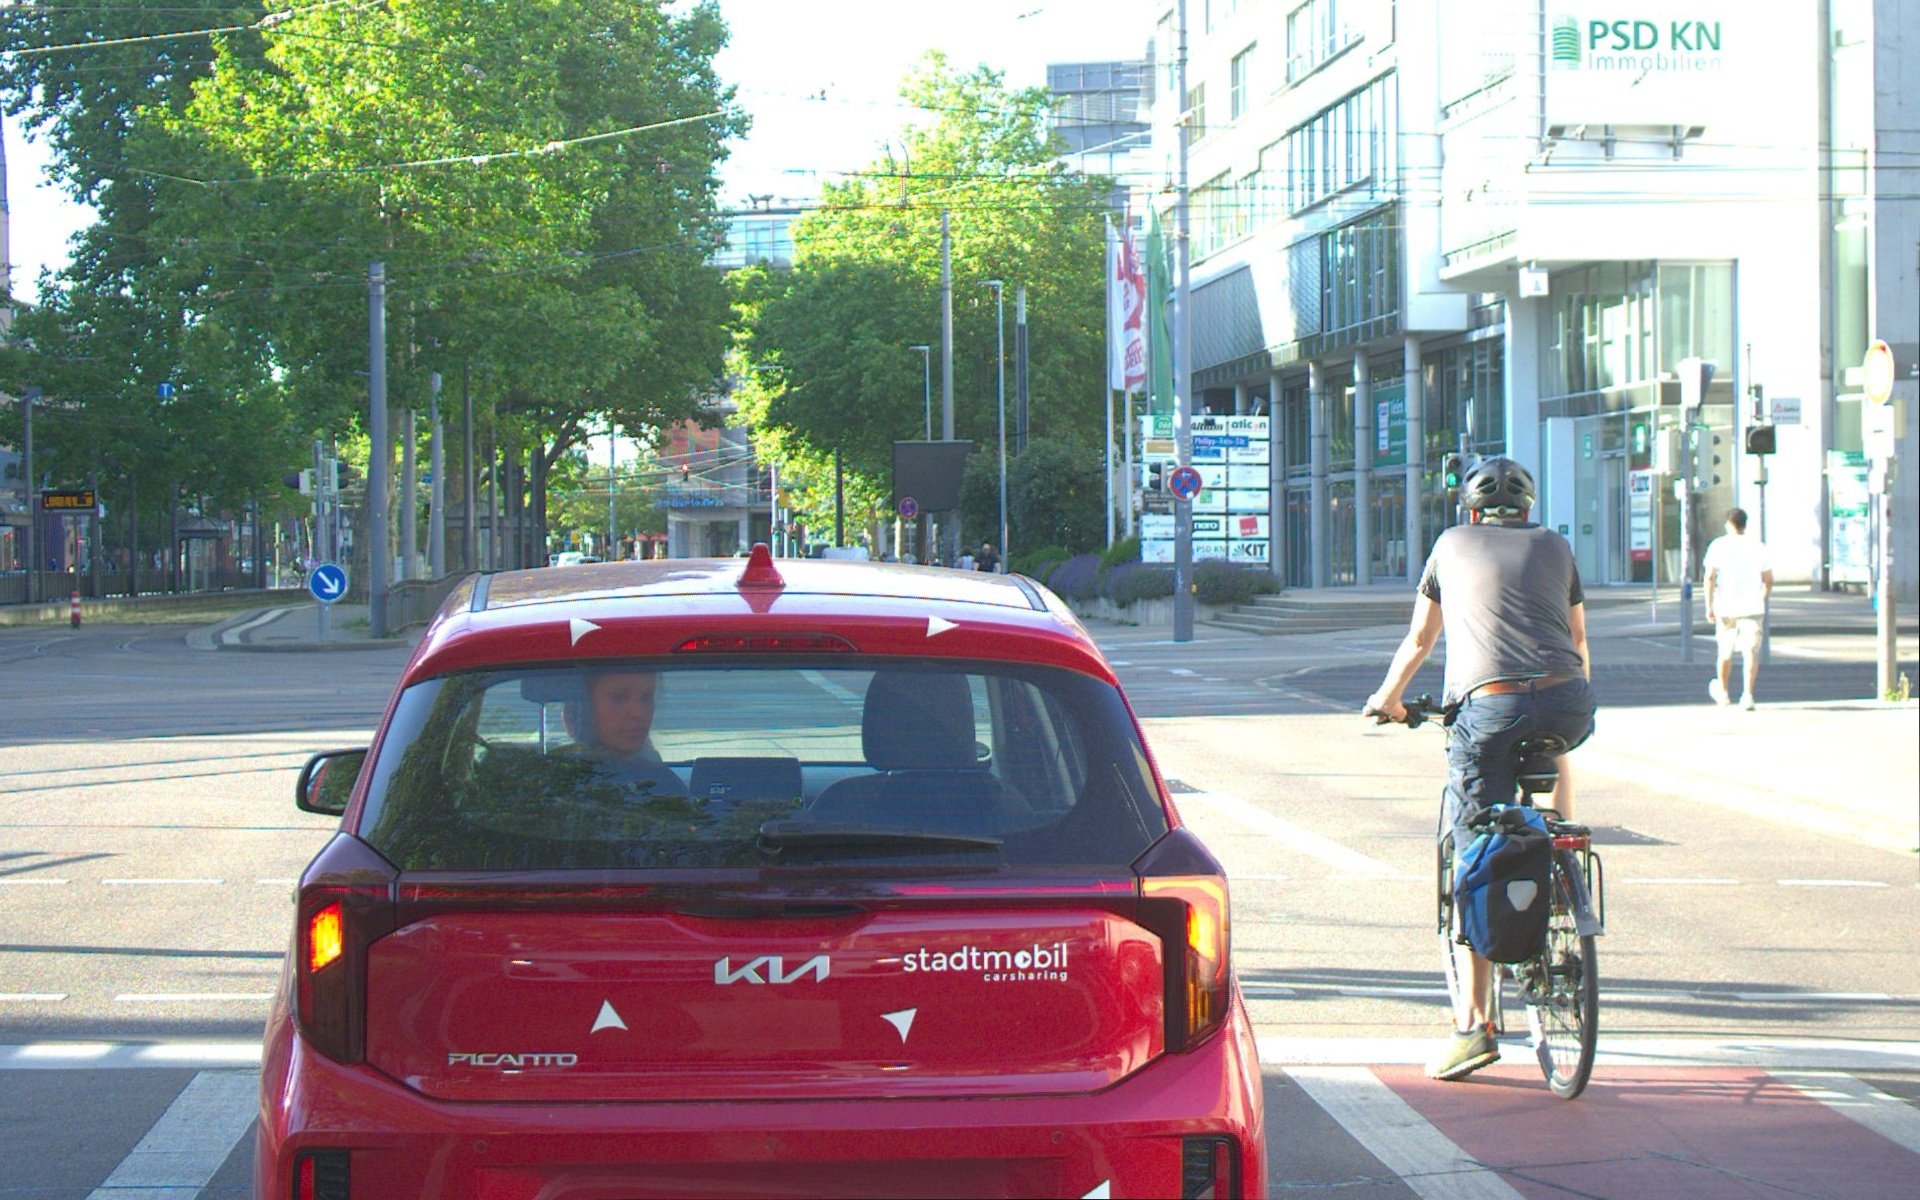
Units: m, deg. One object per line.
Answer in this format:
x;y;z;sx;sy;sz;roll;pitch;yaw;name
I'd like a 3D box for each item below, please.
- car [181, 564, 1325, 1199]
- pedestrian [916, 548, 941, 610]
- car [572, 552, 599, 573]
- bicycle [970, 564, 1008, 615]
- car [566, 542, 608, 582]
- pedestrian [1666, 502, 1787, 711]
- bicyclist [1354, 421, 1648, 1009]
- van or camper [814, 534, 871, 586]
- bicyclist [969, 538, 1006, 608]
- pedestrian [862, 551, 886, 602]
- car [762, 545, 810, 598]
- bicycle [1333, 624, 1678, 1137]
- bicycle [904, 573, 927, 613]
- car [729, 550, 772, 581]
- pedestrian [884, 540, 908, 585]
-0.436;0.709;6.568;1.613;1.529;3.412;0;1;-5;car
-0.843;-0.564;93.229;0.646;1.674;0.651;-1;1;-2;pedestrian
-27.840;-2.828;255.836;1.777;1.529;3.413;0;1;-10;car
0.673;-0.248;80.249;0.696;1.094;1.751;-4;2;-4;bicycle
-19.057;-1.940;175.615;1.993;2.007;4.001;-1;1;-8;car
6.801;0.047;30.548;0.777;1.817;1.216;-1;1;-1;pedestrian
1.539;0.305;9.928;0.650;1.597;1.089;-1;1;-1;bicyclist
-4.541;-1.538;132.293;1.993;1.982;4.745;0;1;-4;van or camper
0.634;-0.636;80.207;0.721;1.597;1.089;-3;1;-3;bicyclist
-2.763;-0.748;110.405;0.642;1.574;0.723;-4;1;0;pedestrian
-6.097;-1.007;120.030;1.635;1.794;3.330;-1;1;-3;car
1.526;0.736;9.919;0.650;1.276;1.966;-1;1;-1;bicycle
-1.211;-0.192;93.167;0.520;0.971;2.202;-4;2;0;bicycle
-10.669;-1.778;175.001;1.777;1.529;3.513;0;1;-10;car
-2.483;-1.457;133.616;0.891;1.747;0.841;-1;1;-1;pedestrian
